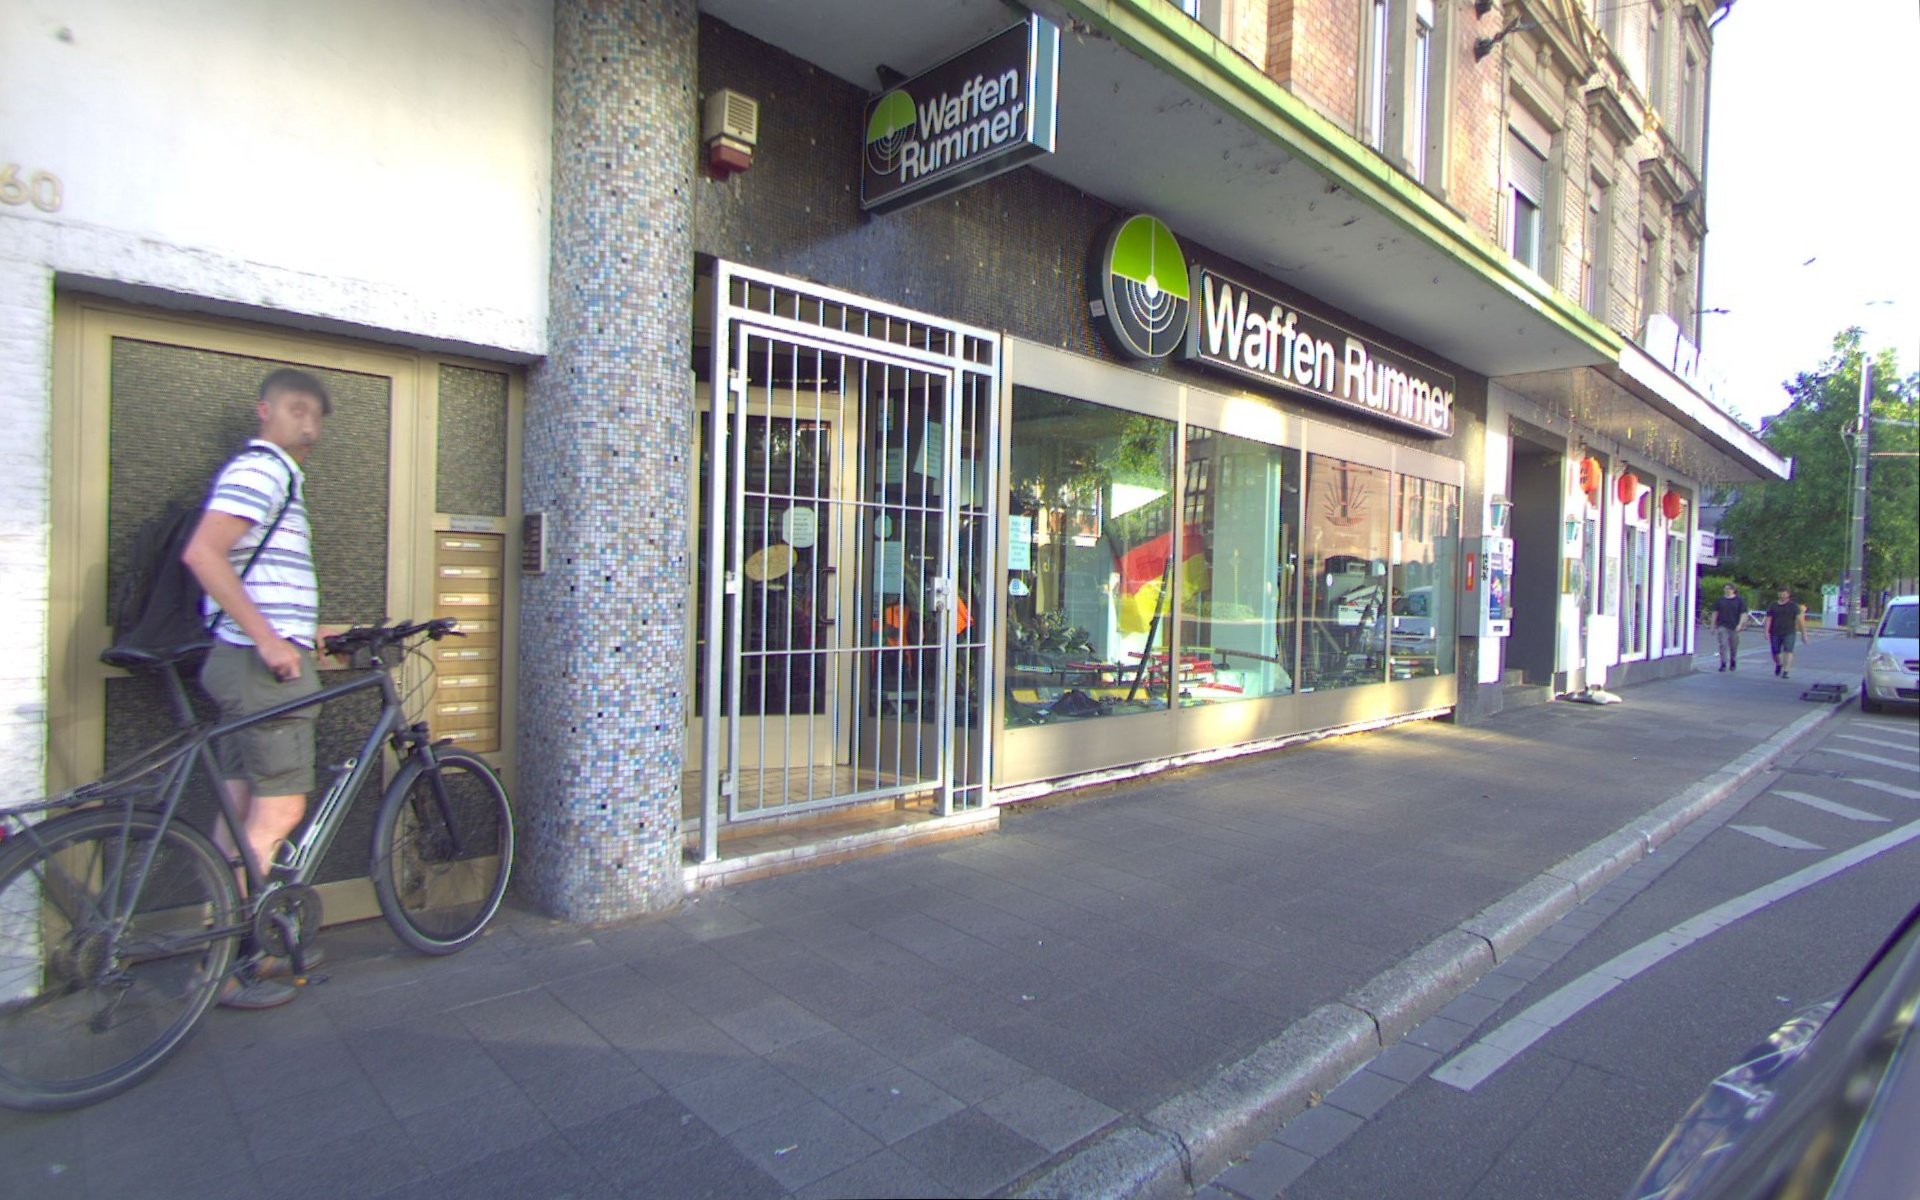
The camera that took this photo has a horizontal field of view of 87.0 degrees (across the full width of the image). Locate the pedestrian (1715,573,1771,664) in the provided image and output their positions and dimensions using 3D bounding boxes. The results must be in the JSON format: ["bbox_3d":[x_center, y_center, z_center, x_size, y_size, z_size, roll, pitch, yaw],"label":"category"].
[{"bbox_3d":[15.607,0.360,20.174,0.669,1.744,0.700,1,3,-42],"label":"pedestrian"}]

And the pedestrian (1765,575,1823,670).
[{"bbox_3d":[15.912,0.418,19.316,0.494,1.744,0.700,1,3,-42],"label":"pedestrian"}]

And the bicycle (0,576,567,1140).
[{"bbox_3d":[-2.183,0.570,3.212,0.660,1.269,1.883,2,1,20],"label":"bicycle"}]

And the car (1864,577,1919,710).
[{"bbox_3d":[13.975,0.572,14.017,3.930,1.705,1.670,0,1,-41],"label":"car"}]

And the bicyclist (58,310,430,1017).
[{"bbox_3d":[-2.210,0.161,3.181,0.592,1.905,0.739,2,1,20],"label":"bicyclist"}]
